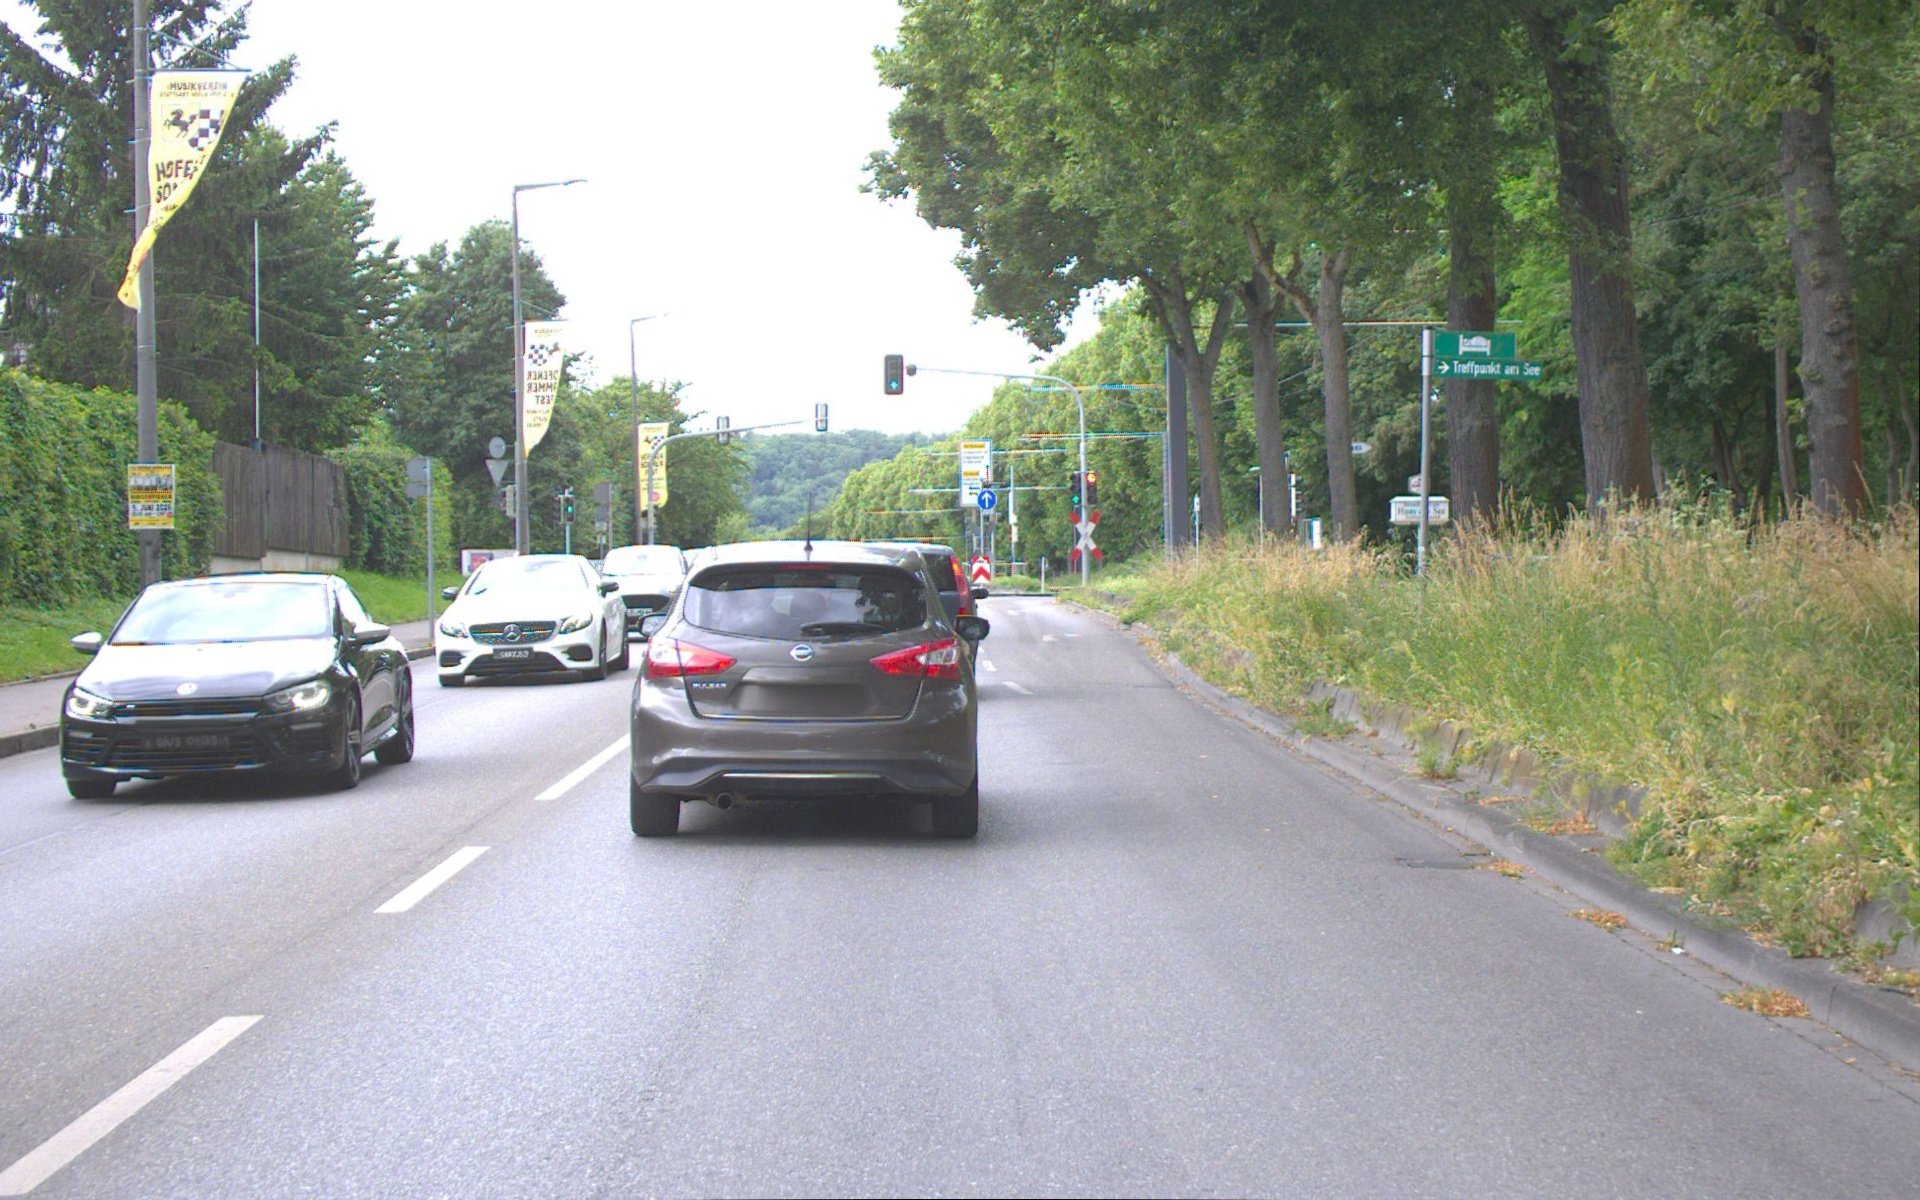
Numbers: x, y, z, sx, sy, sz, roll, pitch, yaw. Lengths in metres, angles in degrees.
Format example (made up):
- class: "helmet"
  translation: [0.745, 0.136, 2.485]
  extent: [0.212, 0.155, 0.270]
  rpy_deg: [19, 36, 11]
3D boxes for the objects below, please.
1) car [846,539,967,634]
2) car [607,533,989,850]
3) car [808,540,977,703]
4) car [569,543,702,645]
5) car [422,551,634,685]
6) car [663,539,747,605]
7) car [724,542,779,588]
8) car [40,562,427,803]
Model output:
- class: "car"
  translation: [-0.824, -0.246, 53.642]
  extent: [1.792, 1.392, 4.000]
  rpy_deg: [-1, 1, -1]
- class: "car"
  translation: [-0.813, 0.401, 18.959]
  extent: [1.835, 1.514, 4.483]
  rpy_deg: [1, 1, -1]
- class: "car"
  translation: [-0.651, 0.168, 33.816]
  extent: [1.538, 1.473, 3.764]
  rpy_deg: [-1, 1, -1]
- class: "car"
  translation: [-5.277, -0.126, 56.375]
  extent: [1.751, 1.513, 4.000]
  rpy_deg: [-3, 1, 0]
- class: "car"
  translation: [-4.917, 0.163, 39.706]
  extent: [1.886, 1.378, 4.491]
  rpy_deg: [-2, 1, -1]
- class: "car"
  translation: [-6.004, -0.679, 81.276]
  extent: [1.728, 1.459, 4.154]
  rpy_deg: [-2, 1, -1]
- class: "car"
  translation: [-7.275, -1.243, 120.256]
  extent: [1.812, 1.519, 4.178]
  rpy_deg: [-2, 1, -2]
- class: "car"
  translation: [-4.684, 0.469, 22.777]
  extent: [1.650, 1.343, 4.478]
  rpy_deg: [-2, 1, -1]
